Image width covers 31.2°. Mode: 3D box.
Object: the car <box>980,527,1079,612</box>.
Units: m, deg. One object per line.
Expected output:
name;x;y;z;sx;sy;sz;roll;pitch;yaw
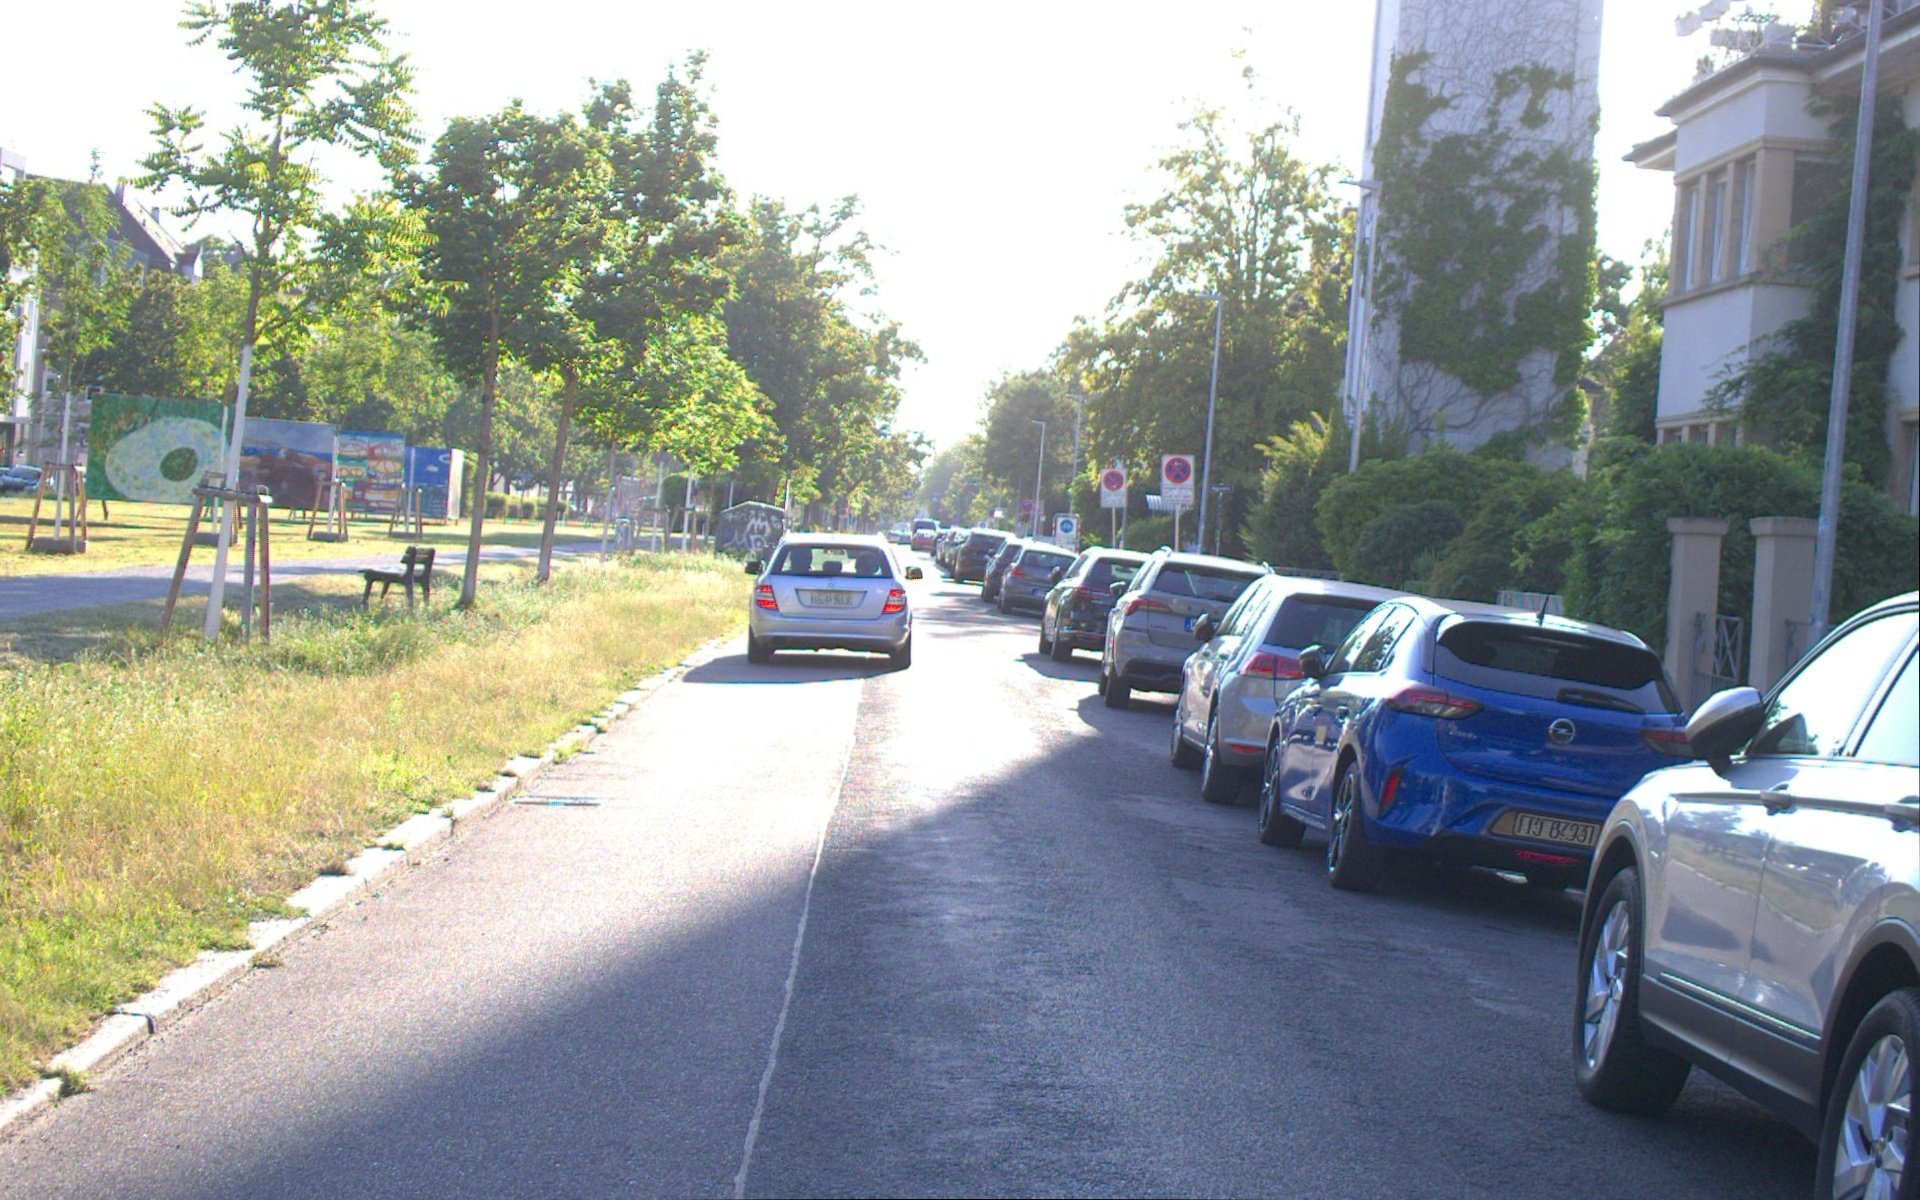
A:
car;1.498;-0.698;75.797;1.993;1.623;4.000;4;2;0

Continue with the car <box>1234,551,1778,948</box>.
car;2.602;0.644;17.364;1.761;1.415;4.001;10;2;-2

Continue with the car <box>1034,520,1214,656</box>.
car;2.030;-0.189;43.612;1.993;1.459;4.000;4;2;0

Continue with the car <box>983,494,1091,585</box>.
car;1.515;-1.242;69.276;1.993;1.623;4.000;4;2;0

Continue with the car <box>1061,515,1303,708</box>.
car;2.043;0.055;32.786;1.761;1.516;4.001;6;2;-2

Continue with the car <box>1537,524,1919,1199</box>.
car;2.752;0.782;8.402;1.685;1.645;4.100;9;2;-1

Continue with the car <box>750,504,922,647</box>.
car;-1.368;-0.309;37.882;1.760;1.415;4.001;1;2;-2

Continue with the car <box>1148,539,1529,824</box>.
car;2.395;0.458;22.740;1.761;1.415;4.001;8;2;-2

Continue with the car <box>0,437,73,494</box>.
car;-37.603;-5.348;136.472;3.160;2.140;6.110;2;2;0

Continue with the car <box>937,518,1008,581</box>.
car;0.377;-1.550;104.092;1.980;1.677;4.000;4;2;0
